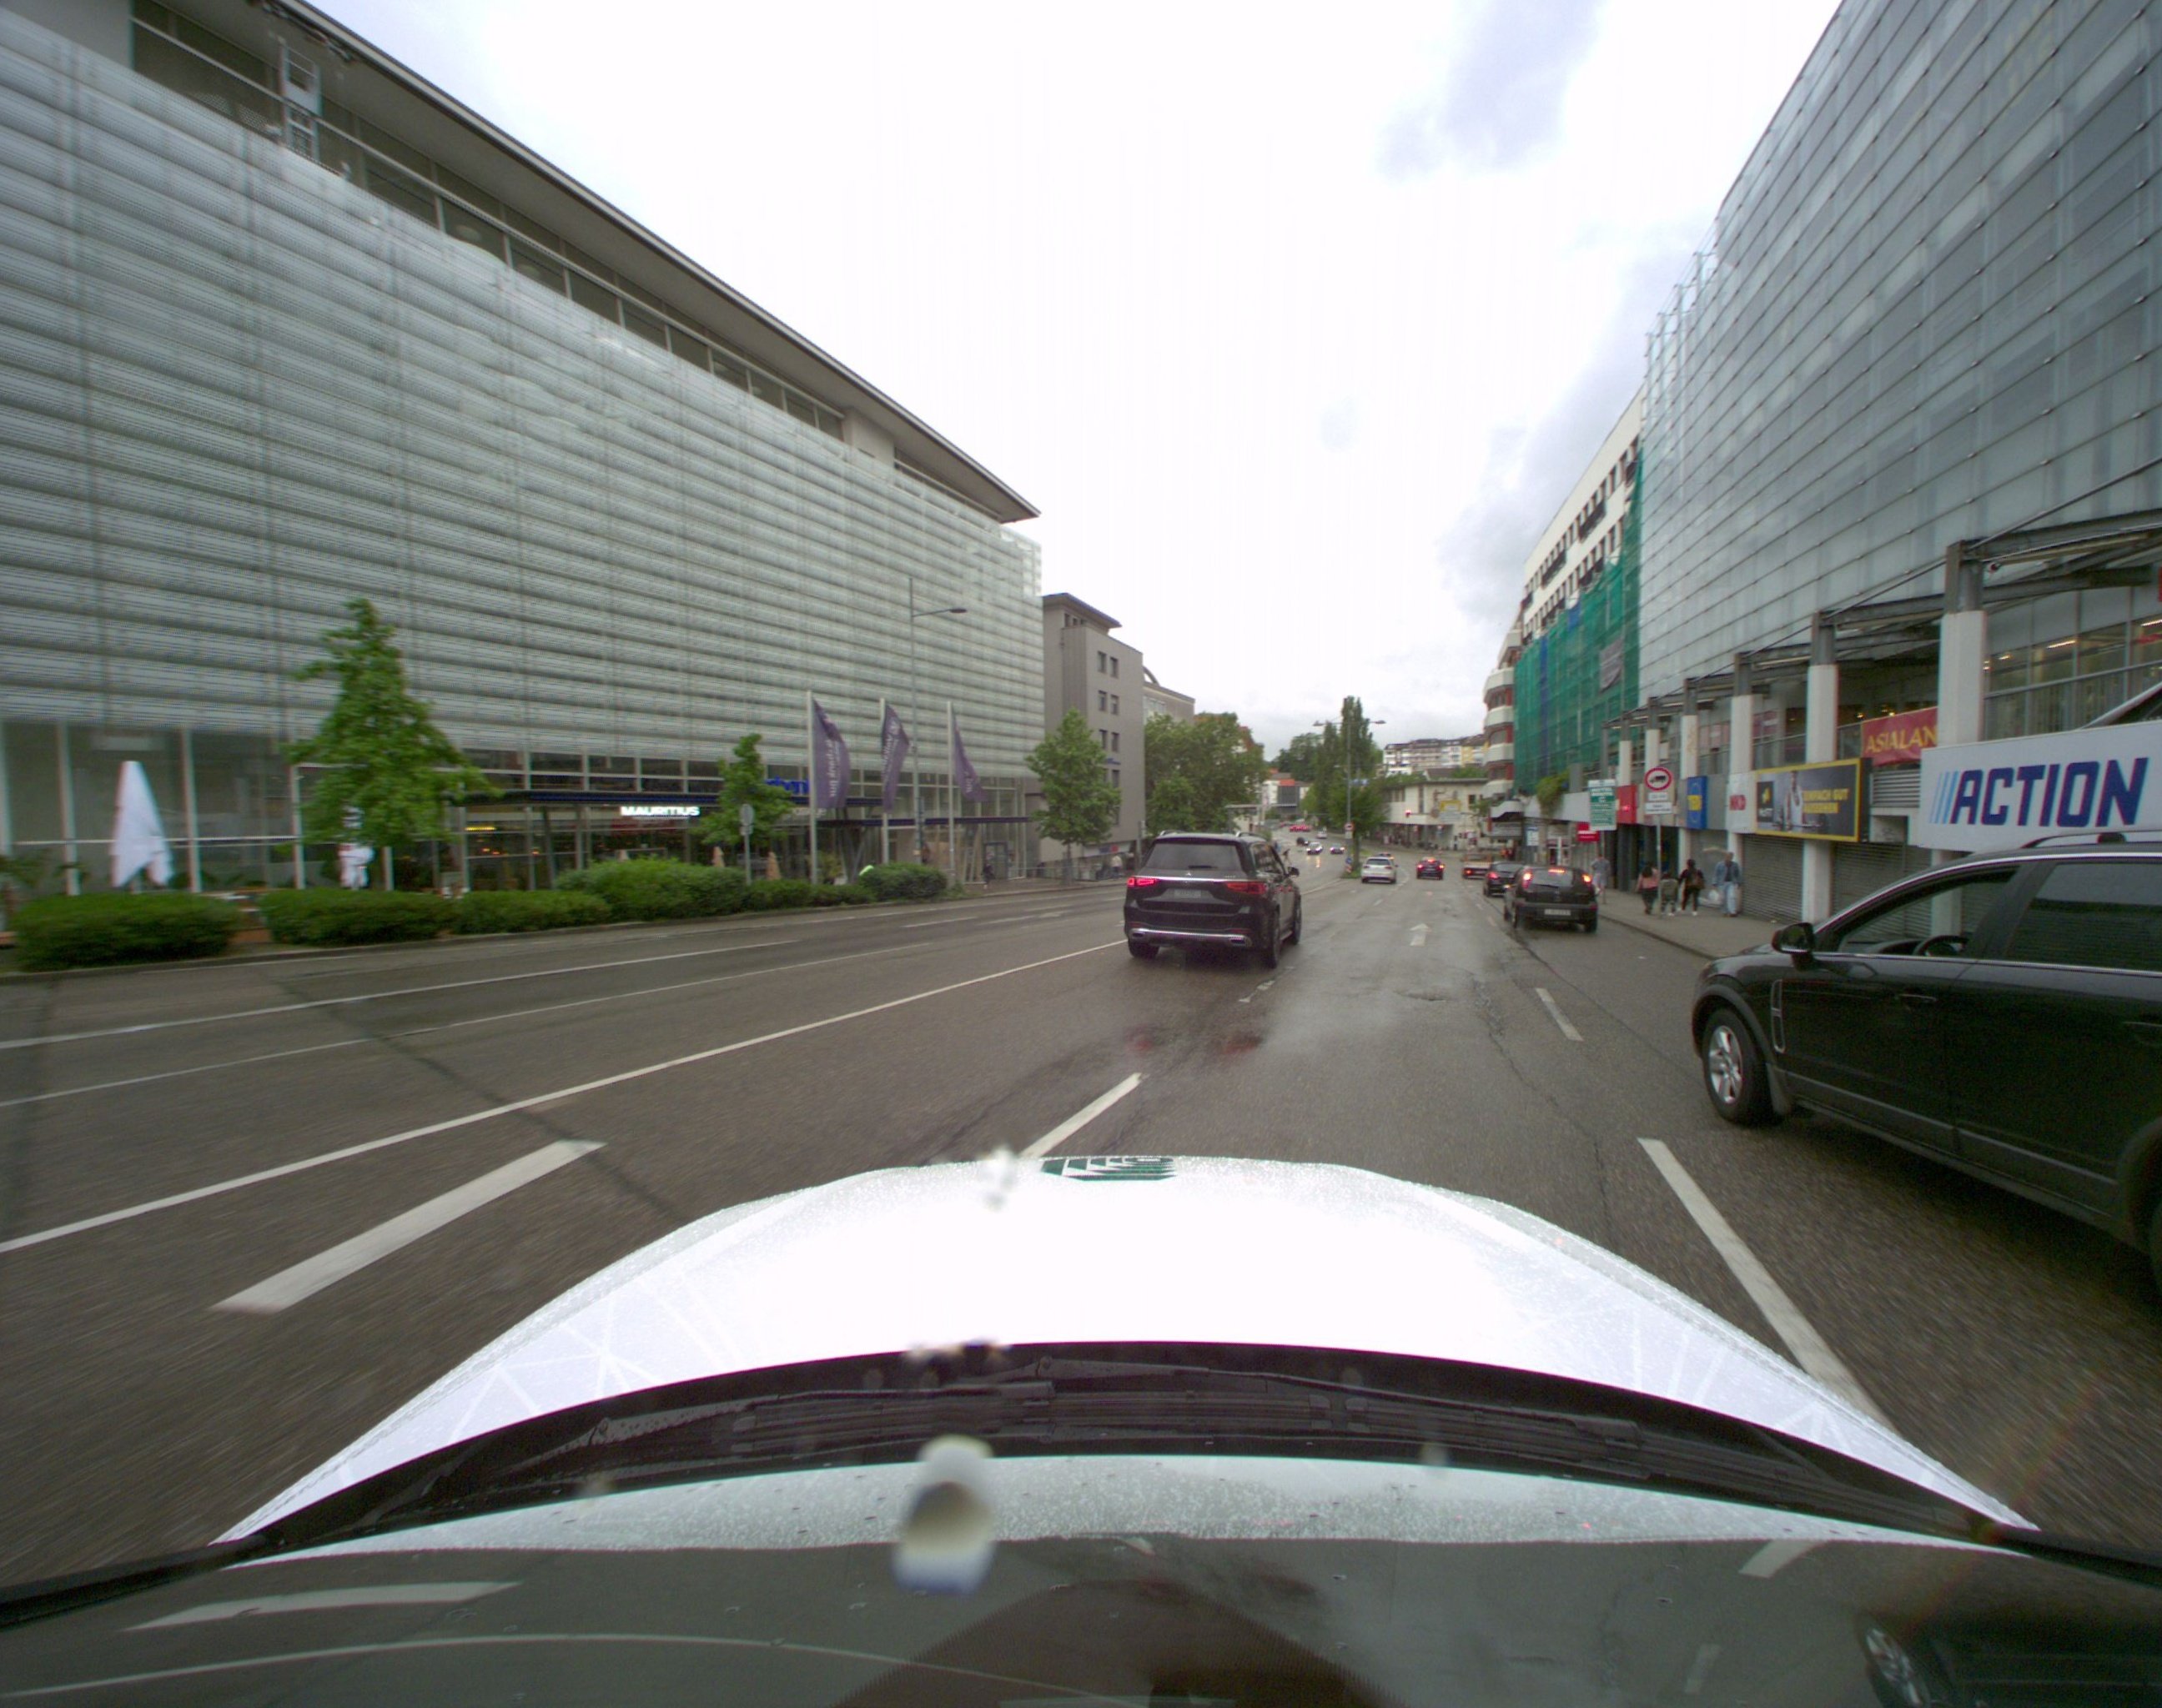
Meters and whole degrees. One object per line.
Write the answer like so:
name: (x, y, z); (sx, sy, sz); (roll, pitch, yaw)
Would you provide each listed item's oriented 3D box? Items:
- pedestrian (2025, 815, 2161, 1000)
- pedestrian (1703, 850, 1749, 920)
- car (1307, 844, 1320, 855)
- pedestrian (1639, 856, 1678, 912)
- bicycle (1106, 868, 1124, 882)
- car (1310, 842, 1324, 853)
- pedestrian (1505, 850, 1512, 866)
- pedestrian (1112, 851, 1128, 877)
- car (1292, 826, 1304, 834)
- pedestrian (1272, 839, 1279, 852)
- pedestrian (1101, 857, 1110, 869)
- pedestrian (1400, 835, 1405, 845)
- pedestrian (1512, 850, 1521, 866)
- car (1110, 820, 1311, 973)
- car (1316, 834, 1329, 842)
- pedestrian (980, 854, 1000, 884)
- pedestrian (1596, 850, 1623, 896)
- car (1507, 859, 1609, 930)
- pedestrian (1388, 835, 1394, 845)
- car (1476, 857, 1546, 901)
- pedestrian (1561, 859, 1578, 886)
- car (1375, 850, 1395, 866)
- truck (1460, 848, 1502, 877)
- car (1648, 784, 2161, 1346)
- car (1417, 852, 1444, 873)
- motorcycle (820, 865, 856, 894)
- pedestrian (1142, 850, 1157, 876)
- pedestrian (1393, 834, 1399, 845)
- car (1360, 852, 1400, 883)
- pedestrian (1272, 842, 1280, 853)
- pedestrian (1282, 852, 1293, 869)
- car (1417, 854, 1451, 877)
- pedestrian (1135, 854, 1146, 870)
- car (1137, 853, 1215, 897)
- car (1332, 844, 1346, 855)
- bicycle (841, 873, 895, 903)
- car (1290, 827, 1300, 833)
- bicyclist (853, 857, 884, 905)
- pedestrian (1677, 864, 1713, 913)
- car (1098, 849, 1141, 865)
pedestrian: (10.798, 0.526, 8.643); (0.594, 1.840, 1.017); (-1, 1, 20)
pedestrian: (16.174, 0.766, 20.439); (0.827, 1.722, 0.621); (0, 0, 31)
car: (32.774, -0.678, 114.804); (1.694, 1.451, 3.877); (1, 1, 15)
pedestrian: (15.168, 0.773, 21.415); (0.739, 1.438, 0.601); (-2, -1, 31)
bicycle: (2.865, 1.776, 68.478); (0.606, 1.087, 2.685); (1, 0, 22)
car: (35.324, -0.958, 122.067); (1.765, 1.549, 4.015); (1, 1, 13)
pedestrian: (45.969, 0.424, 87.574); (0.572, 1.700, 0.653); (-1, 0, 12)
pedestrian: (2.614, 0.669, 54.117); (0.988, 1.722, 1.040); (0, 0, 4)
car: (58.695, -6.429, 220.291); (1.987, 2.013, 3.999); (1, 1, -1)
pedestrian: (28.984, -1.266, 121.394); (0.905, 1.803, 0.624); (0, 0, -19)
pedestrian: (2.712, 0.974, 90.380); (0.947, 1.272, 0.759); (0, 0, -4)
pedestrian: (55.008, -2.397, 139.328); (0.698, 1.803, 0.941); (0, 0, 8)
pedestrian: (46.662, 0.453, 87.248); (0.572, 1.700, 0.652); (-1, 0, 8)
car: (2.213, 0.484, 12.437); (2.070, 1.817, 4.817); (2, 1, 20)
car: (51.020, -3.430, 172.081); (1.982, 1.596, 4.011); (1, 1, 9)
pedestrian: (-4.627, 0.754, 41.420); (0.646, 1.456, 0.850); (0, 0, 29)
pedestrian: (20.197, 0.711, 31.156); (0.827, 1.722, 0.834); (0, 0, 31)
car: (10.864, 0.842, 18.766); (1.701, 1.420, 3.792); (1, 0, 25)
pedestrian: (53.816, -2.464, 141.257); (0.794, 1.803, 0.920); (0, 0, 8)
car: (17.242, 0.957, 32.856); (1.934, 1.574, 4.020); (1, 1, 20)
pedestrian: (29.119, 1.102, 48.572); (0.563, 1.650, 0.638); (0, -2, -26)
car: (31.179, 0.378, 83.564); (1.779, 1.468, 4.020); (1, 1, 19)
truck: (29.922, 0.574, 61.088); (2.166, 2.082, 5.630); (1, 1, 19)
car: (4.538, 0.631, 3.441); (1.895, 1.785, 4.315); (-1, 1, 11)
car: (29.373, 0.698, 68.496); (1.746, 1.542, 4.020); (1, 2, 19)
motorcycle: (-11.499, 1.190, 38.549); (1.532, 1.295, 0.774); (0, 0, 29)
pedestrian: (4.592, 0.599, 54.562); (0.809, 1.713, 1.318); (0, 0, 15)
pedestrian: (54.022, -2.448, 139.686); (0.841, 1.803, 1.058); (0, 0, 8)
car: (16.875, 0.715, 45.867); (1.933, 1.574, 4.021); (1, 1, 22)
pedestrian: (28.723, -0.938, 119.771); (0.926, 1.608, 0.560); (0, 0, -19)
pedestrian: (22.975, 0.745, 90.559); (1.053, 1.882, 0.843); (0, 0, 28)
car: (25.153, 0.788, 58.170); (1.797, 1.440, 4.019); (2, 2, 18)
pedestrian: (6.415, 0.854, 87.593); (0.750, 1.722, 0.958); (-1, 0, 35)
car: (3.747, 0.762, 31.572); (1.824, 1.552, 4.117); (-2, -1, 24)
car: (36.253, -0.674, 114.467); (1.806, 1.549, 4.018); (1, 1, 18)
bicycle: (-8.233, 1.285, 31.602); (0.671, 1.099, 2.084); (-1, -1, 36)
car: (55.729, -6.240, 211.957); (1.740, 1.554, 3.574); (1, 1, 5)
bicyclist: (-8.240, 1.047, 31.595); (0.662, 1.830, 0.997); (-1, -1, 35)
pedestrian: (15.792, 0.877, 20.962); (0.684, 1.207, 0.557); (0, 0, 31)
car: (4.796, 0.367, 100.426); (5.040, 1.759, 2.006); (2, 0, 10)
